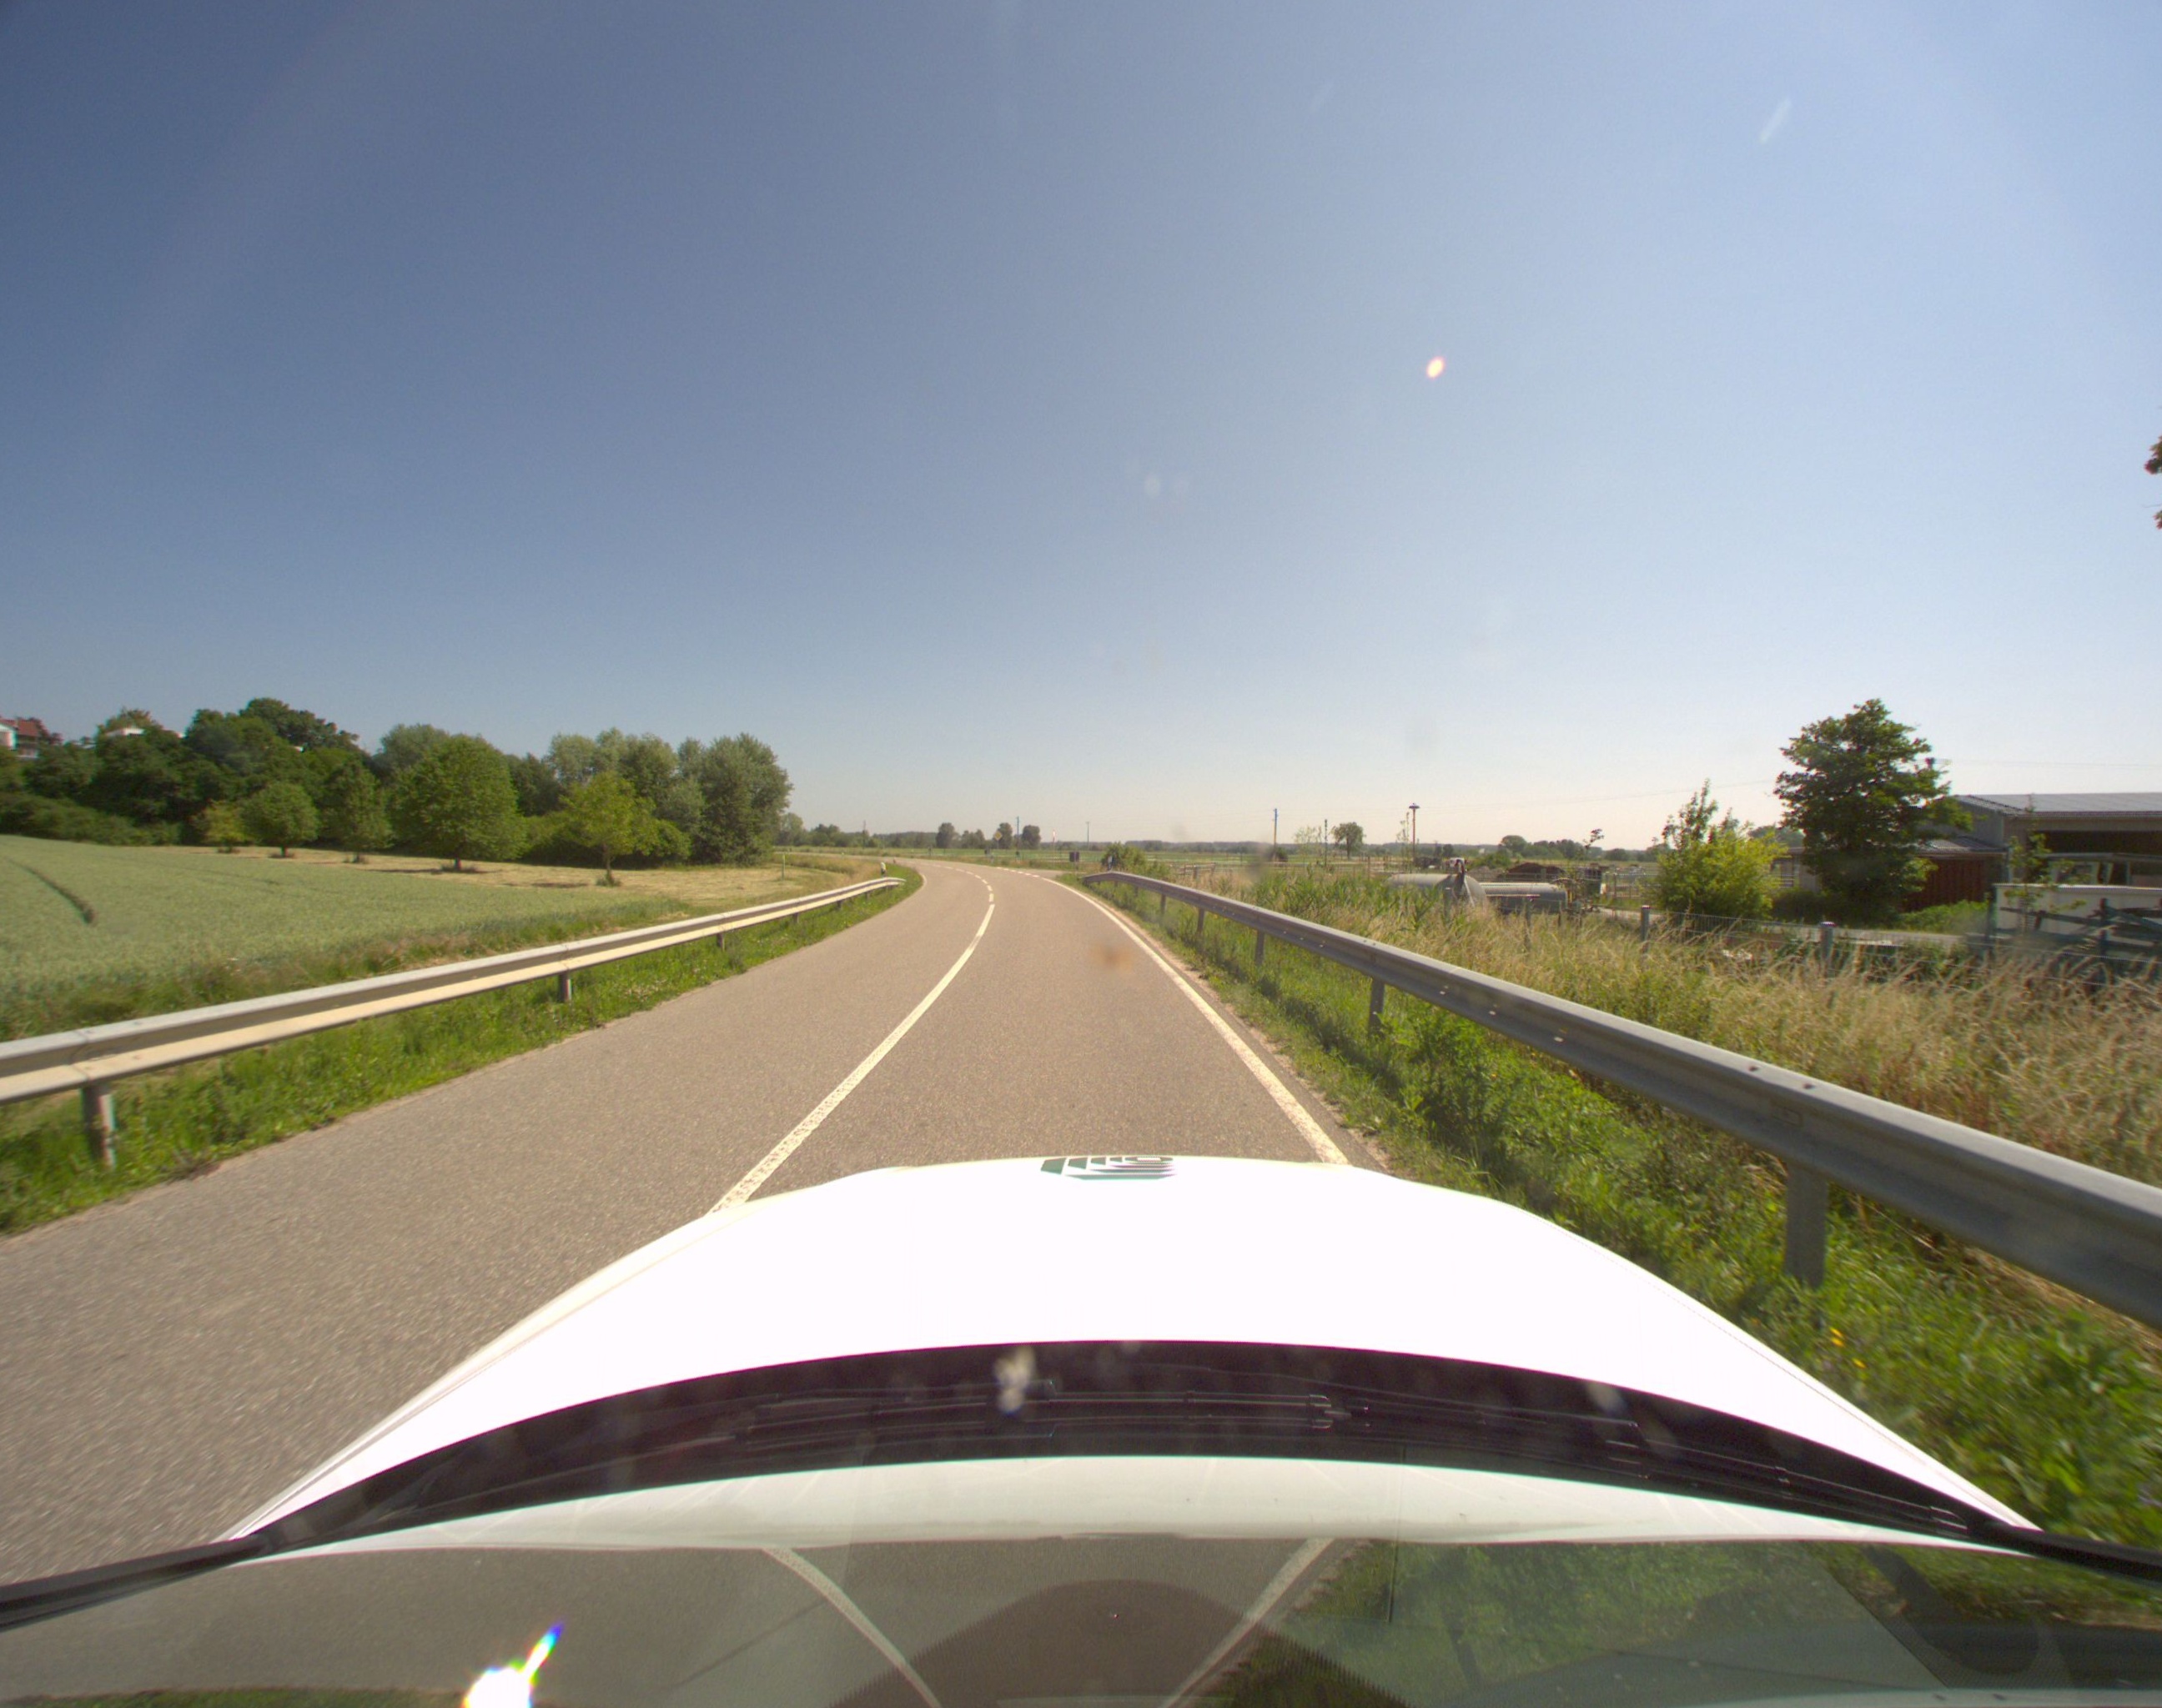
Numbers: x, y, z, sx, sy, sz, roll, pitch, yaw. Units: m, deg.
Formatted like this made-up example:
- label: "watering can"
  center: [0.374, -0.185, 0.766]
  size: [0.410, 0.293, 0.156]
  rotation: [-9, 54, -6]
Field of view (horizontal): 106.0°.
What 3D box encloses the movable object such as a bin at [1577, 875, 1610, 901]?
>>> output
- label: "movable object such as a bin"
  center: [28.495, 1.887, 45.320]
  size: [1.356, 1.349, 1.525]
  rotation: [1, 0, 24]
